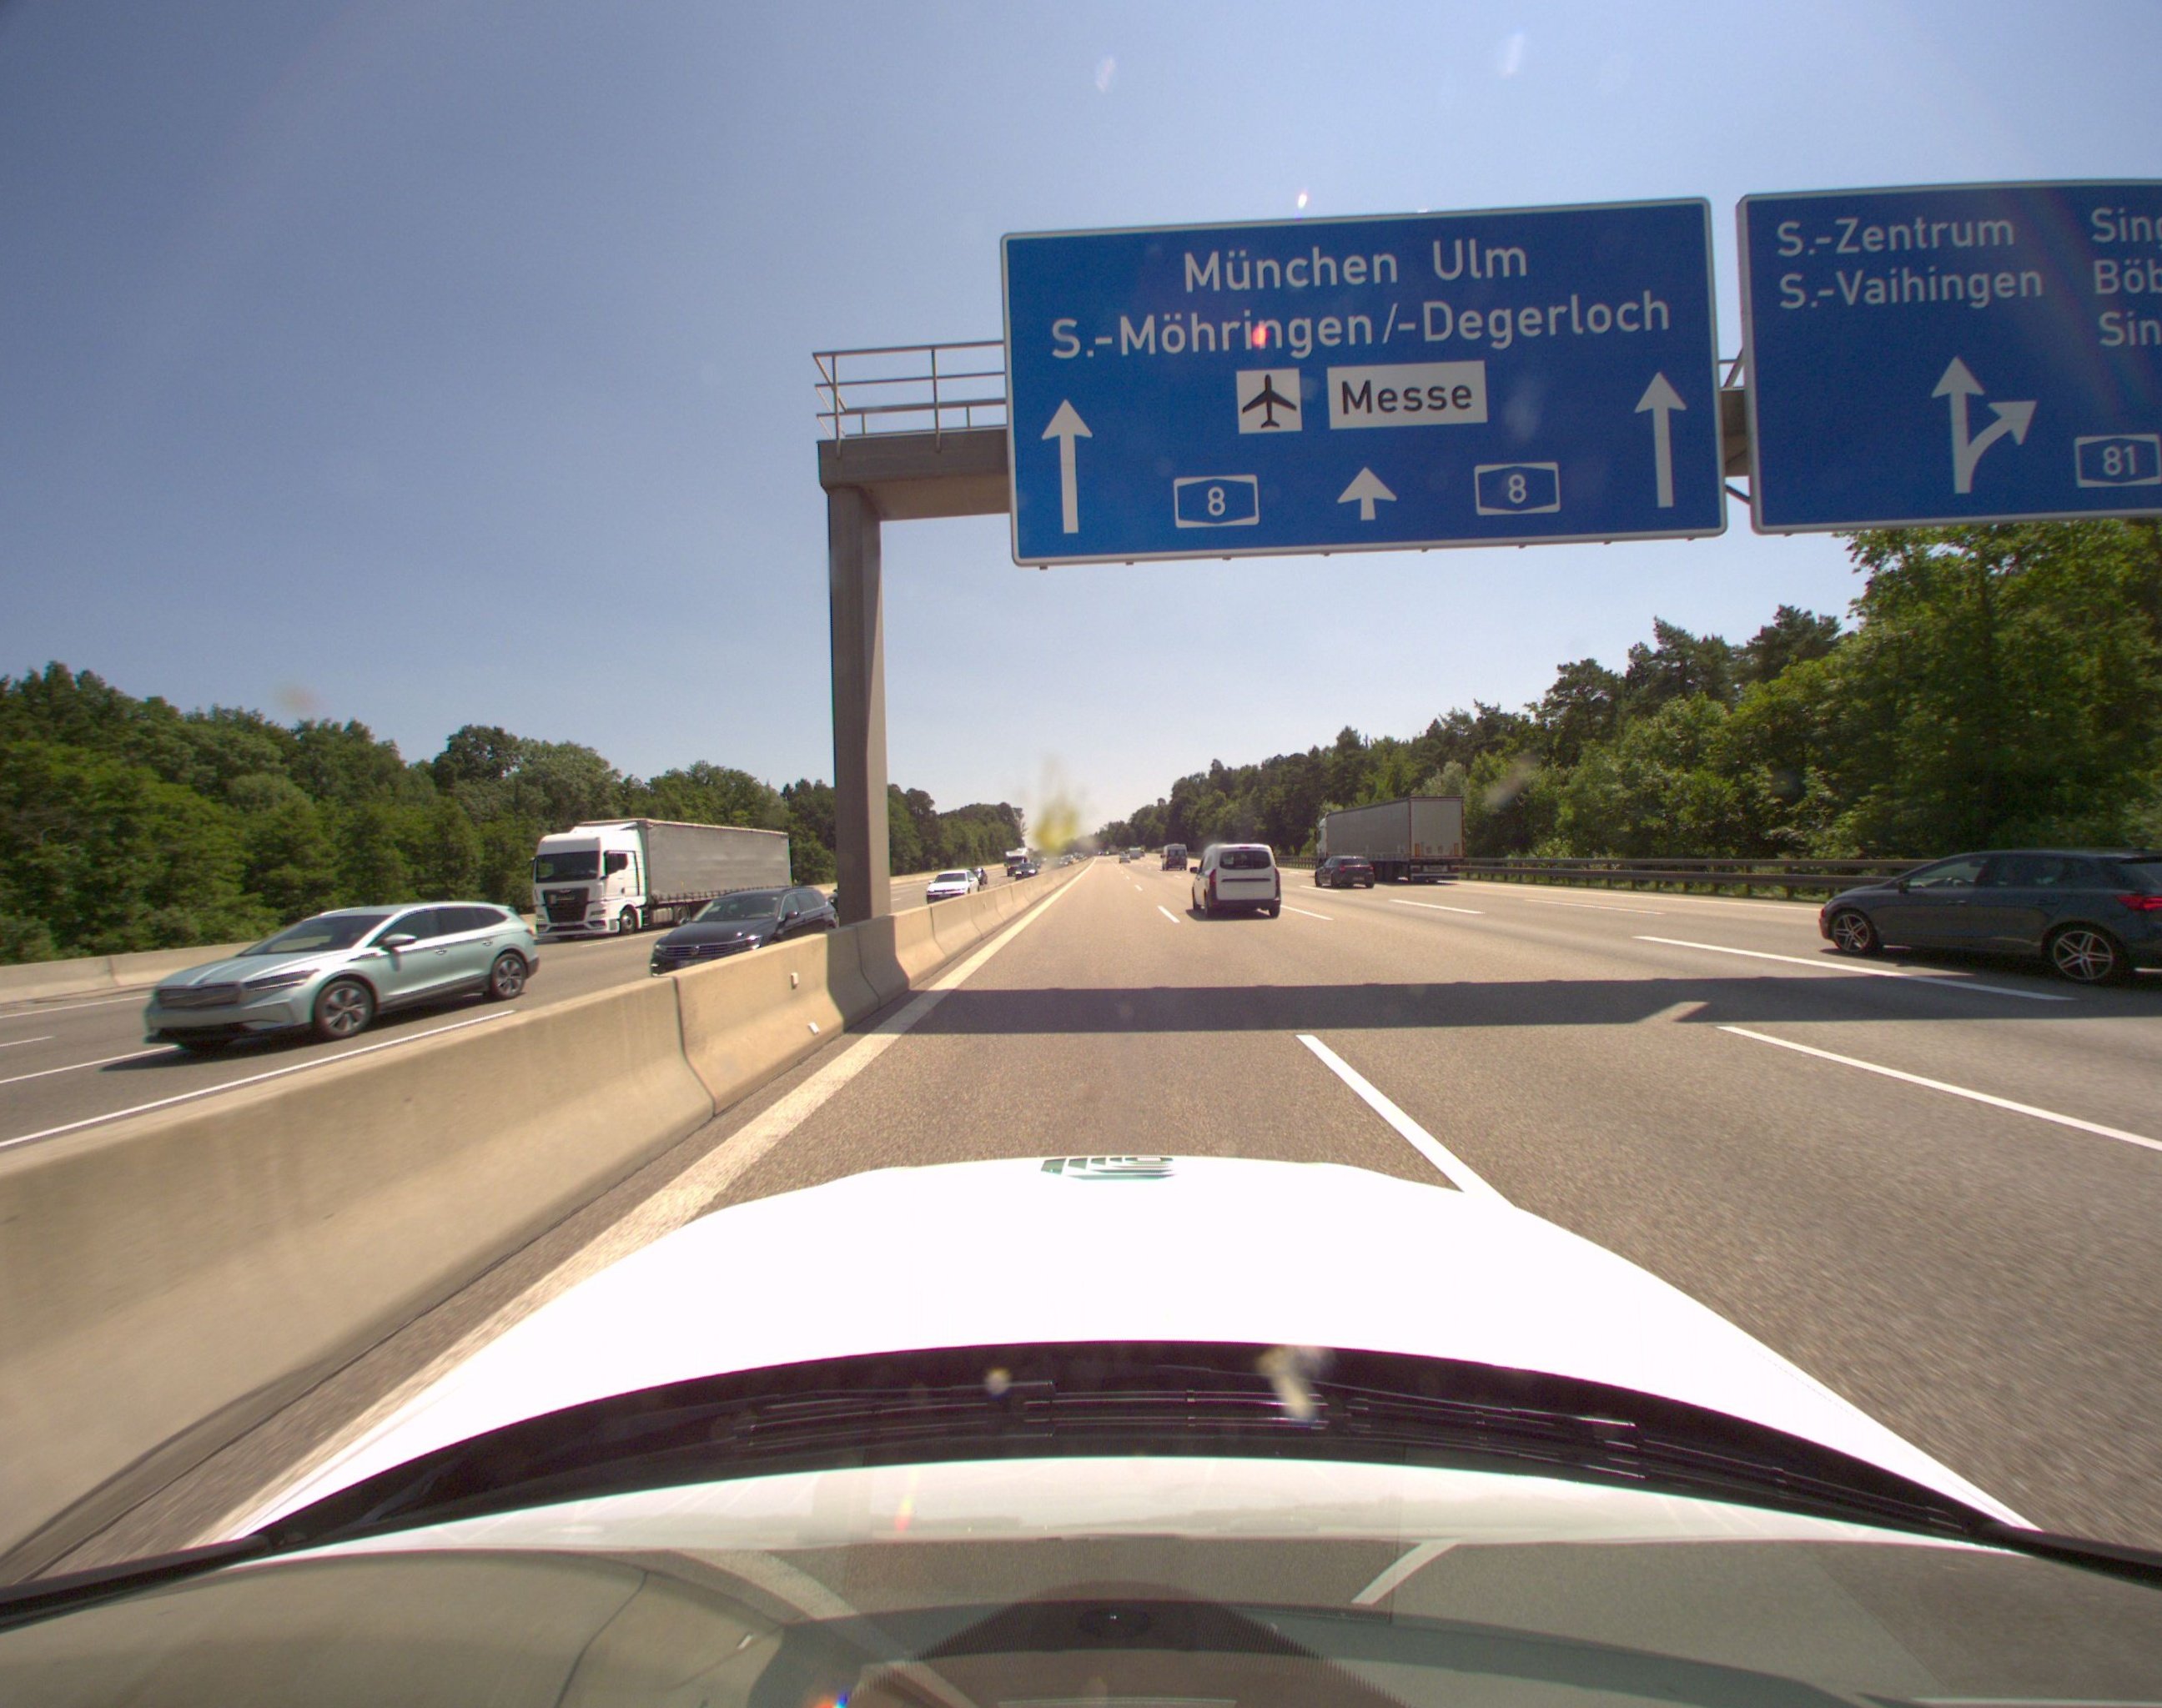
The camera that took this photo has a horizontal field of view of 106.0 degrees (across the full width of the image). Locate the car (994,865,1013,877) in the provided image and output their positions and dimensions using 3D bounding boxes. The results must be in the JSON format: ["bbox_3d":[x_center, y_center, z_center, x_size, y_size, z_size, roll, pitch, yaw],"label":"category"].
[{"bbox_3d":[-9.413,2.100,99.496,1.829,1.338,3.644,-3,0,1],"label":"car"}]

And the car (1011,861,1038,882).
[{"bbox_3d":[-4.789,1.466,69.510,1.716,1.537,5.057,-3,0,2],"label":"car"}]

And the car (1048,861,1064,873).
[{"bbox_3d":[-3.624,1.863,118.034,1.986,1.618,4.001,-3,0,1],"label":"car"}]

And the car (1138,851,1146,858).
[{"bbox_3d":[16.342,0.216,217.117,1.814,1.860,4.001,-3,0,1],"label":"car"}]

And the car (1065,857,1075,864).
[{"bbox_3d":[-2.173,1.255,160.668,1.829,1.338,3.644,-3,0,1],"label":"car"}]

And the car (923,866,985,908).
[{"bbox_3d":[-5.729,1.435,37.275,1.840,1.550,5.215,-5,0,1],"label":"car"}]

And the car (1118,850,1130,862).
[{"bbox_3d":[7.983,0.331,152.386,2.026,2.014,4.001,-3,-1,1],"label":"car"}]

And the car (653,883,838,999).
[{"bbox_3d":[-5.687,1.388,14.376,1.532,1.550,4.069,-3,0,0],"label":"car"}]

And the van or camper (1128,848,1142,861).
[{"bbox_3d":[12.057,0.112,182.717,2.635,2.539,6.504,-3,-1,2],"label":"van or camper"}]

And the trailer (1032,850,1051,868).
[{"bbox_3d":[-9.575,1.197,198.312,3.524,4.068,10.374,-3,-1,2],"label":"trailer"}]

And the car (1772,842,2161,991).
[{"bbox_3d":[11.266,0.599,10.049,1.637,1.438,4.636,-1,0,1],"label":"car"}]

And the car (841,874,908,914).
[{"bbox_3d":[-8.743,1.660,34.808,1.543,1.442,4.725,-2,0,1],"label":"car"}]

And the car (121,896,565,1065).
[{"bbox_3d":[-9.921,1.562,11.685,1.811,1.589,4.882,-3,0,1],"label":"car"}]

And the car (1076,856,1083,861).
[{"bbox_3d":[-0.536,1.413,243.428,1.829,1.338,3.644,-3,0,1],"label":"car"}]

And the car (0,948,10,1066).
[{"bbox_3d":[-13.758,1.865,7.235,1.845,1.387,4.928,-4,0,1],"label":"car"}]

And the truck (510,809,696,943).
[{"bbox_3d":[-17.163,0.788,29.864,2.750,4.220,6.380,-3,-1,2],"label":"truck"}]

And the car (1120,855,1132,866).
[{"bbox_3d":[7.735,1.115,139.364,1.836,1.629,4.554,-3,-1,1],"label":"car"}]

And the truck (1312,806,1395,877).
[{"bbox_3d":[16.836,-0.724,50.757,3.242,4.106,5.989,-1,0,1],"label":"truck"}]

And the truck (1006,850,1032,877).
[{"bbox_3d":[-7.162,1.064,94.490,2.130,2.838,7.672,-3,0,2],"label":"truck"}]

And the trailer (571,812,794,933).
[{"bbox_3d":[-16.967,0.812,36.607,2.744,4.246,13.722,-3,-1,2],"label":"trailer"}]

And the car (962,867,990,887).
[{"bbox_3d":[-8.514,1.812,66.171,1.528,1.482,4.127,1,0,2],"label":"car"}]

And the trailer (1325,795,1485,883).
[{"bbox_3d":[16.709,-0.666,43.707,3.276,3.930,13.893,-1,0,1],"label":"trailer"}]

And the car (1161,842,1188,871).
[{"bbox_3d":[9.201,0.267,80.482,2.135,2.652,5.711,-2,0,2],"label":"car"}]

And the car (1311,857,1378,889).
[{"bbox_3d":[11.528,0.779,35.884,1.664,1.273,4.292,-1,0,2],"label":"car"}]

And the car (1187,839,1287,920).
[{"bbox_3d":[3.969,0.640,21.488,1.852,1.826,4.614,-3,-1,2],"label":"car"}]
